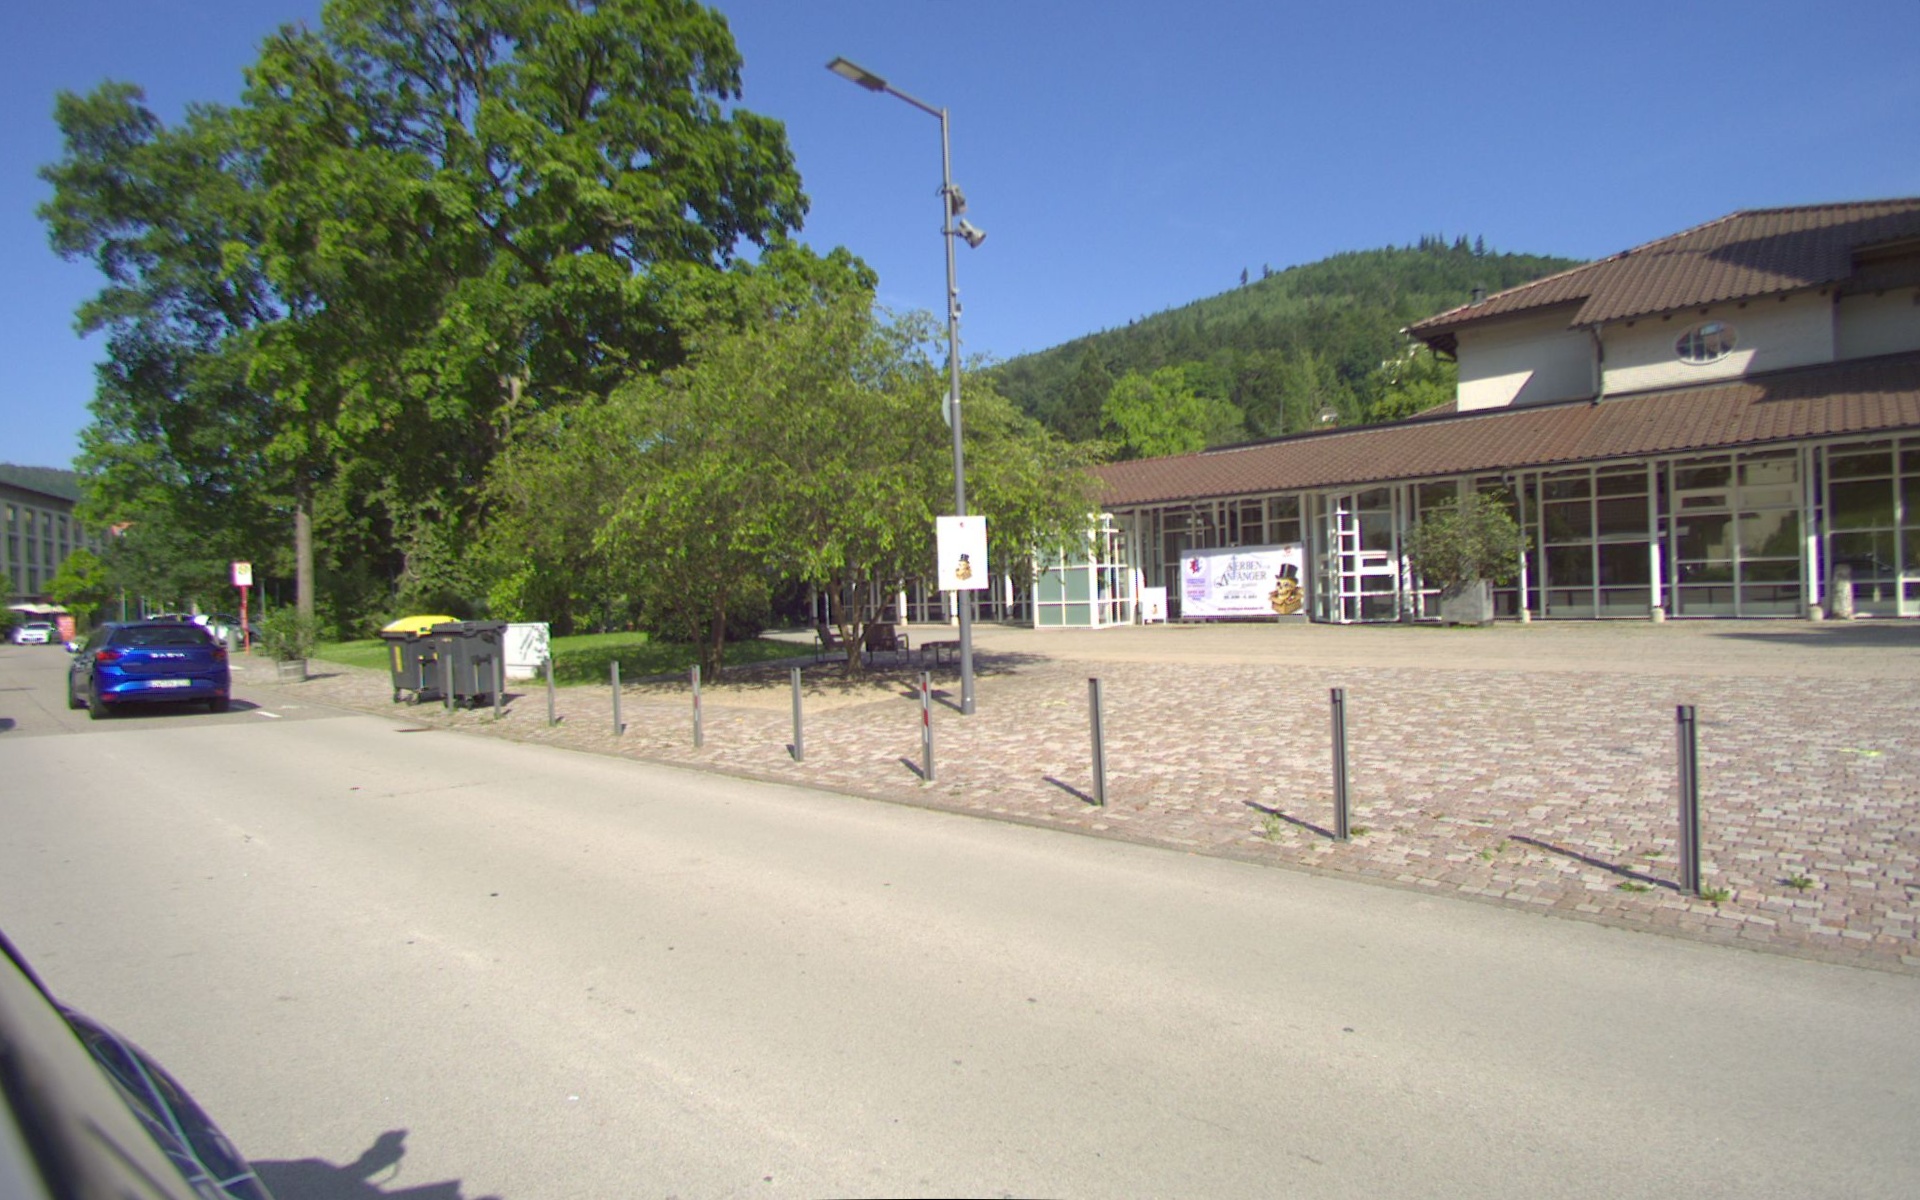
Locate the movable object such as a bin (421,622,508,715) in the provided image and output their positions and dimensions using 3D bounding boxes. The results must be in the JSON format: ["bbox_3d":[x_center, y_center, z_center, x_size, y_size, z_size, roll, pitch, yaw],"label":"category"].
[{"bbox_3d":[-7.790,1.049,15.886,1.295,1.351,0.747,-2,2,43],"label":"movable object such as a bin"}]

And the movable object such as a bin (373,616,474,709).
[{"bbox_3d":[-9.183,1.047,17.316,1.377,1.438,1.067,-2,2,43],"label":"movable object such as a bin"}]

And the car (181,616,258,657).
[{"bbox_3d":[-32.590,1.582,44.548,2.617,1.558,1.686,-4,2,-38],"label":"car"}]

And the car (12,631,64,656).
[{"bbox_3d":[-63.022,2.947,69.233,1.627,1.481,4.012,-4,1,-29],"label":"car"}]

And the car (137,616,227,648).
[{"bbox_3d":[-50.033,2.014,65.156,4.428,1.675,1.812,-5,3,-41],"label":"car"}]

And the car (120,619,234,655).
[{"bbox_3d":[-39.622,1.827,51.284,1.712,1.442,4.233,-2,2,40],"label":"car"}]

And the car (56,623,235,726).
[{"bbox_3d":[-13.536,1.125,16.730,4.187,1.474,1.722,-1,-2,43],"label":"car"}]
